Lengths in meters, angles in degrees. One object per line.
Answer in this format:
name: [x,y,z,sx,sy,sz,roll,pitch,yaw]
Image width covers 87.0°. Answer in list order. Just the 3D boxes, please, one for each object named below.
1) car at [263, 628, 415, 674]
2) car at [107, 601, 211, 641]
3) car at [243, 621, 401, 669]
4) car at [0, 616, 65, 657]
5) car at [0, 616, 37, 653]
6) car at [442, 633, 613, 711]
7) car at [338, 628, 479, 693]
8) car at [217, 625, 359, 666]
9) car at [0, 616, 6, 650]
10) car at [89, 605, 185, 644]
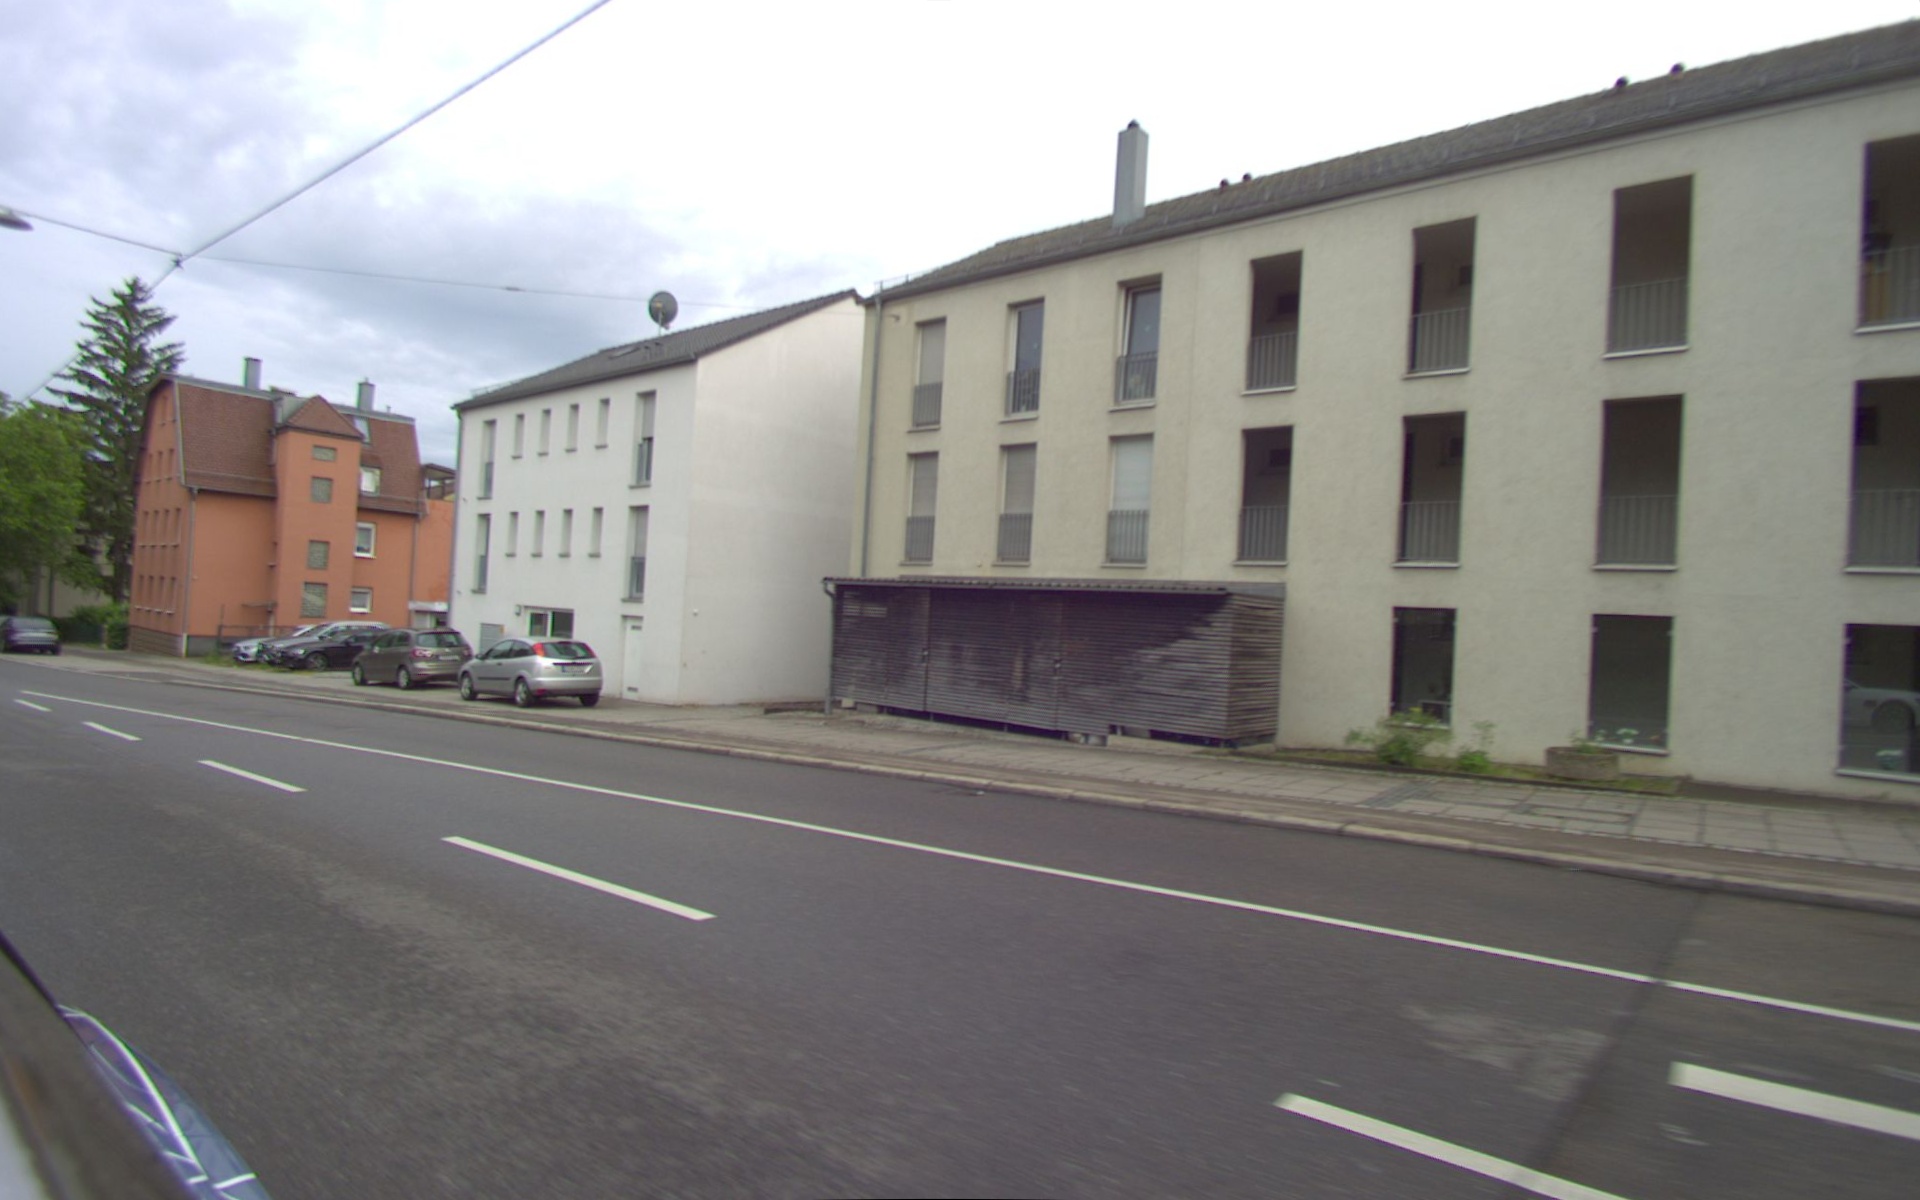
car: [-21.416,1.716,35.011,1.895,1.475,4.082,-1,-2,41]
car: [-42.507,1.152,53.790,1.998,2.029,3.948,0,-2,39]
car: [-23.265,1.603,37.011,2.152,1.620,4.483,-1,-2,42]
car: [-36.786,1.405,39.619,4.192,1.421,1.767,0,-5,38]
car: [-40.552,1.415,42.617,4.193,1.463,1.794,0,-4,38]
car: [-9.595,1.535,22.325,4.175,1.519,1.727,-1,-4,40]
car: [-14.763,1.557,27.014,4.076,1.564,1.729,-1,-2,36]
car: [-25.406,1.701,38.348,2.000,1.444,4.117,-1,-2,42]
car: [-45.552,1.415,46.568,4.195,1.558,1.793,-1,-7,40]
car: [-45.576,1.373,56.061,3.939,2.029,2.002,3,-2,-43]
